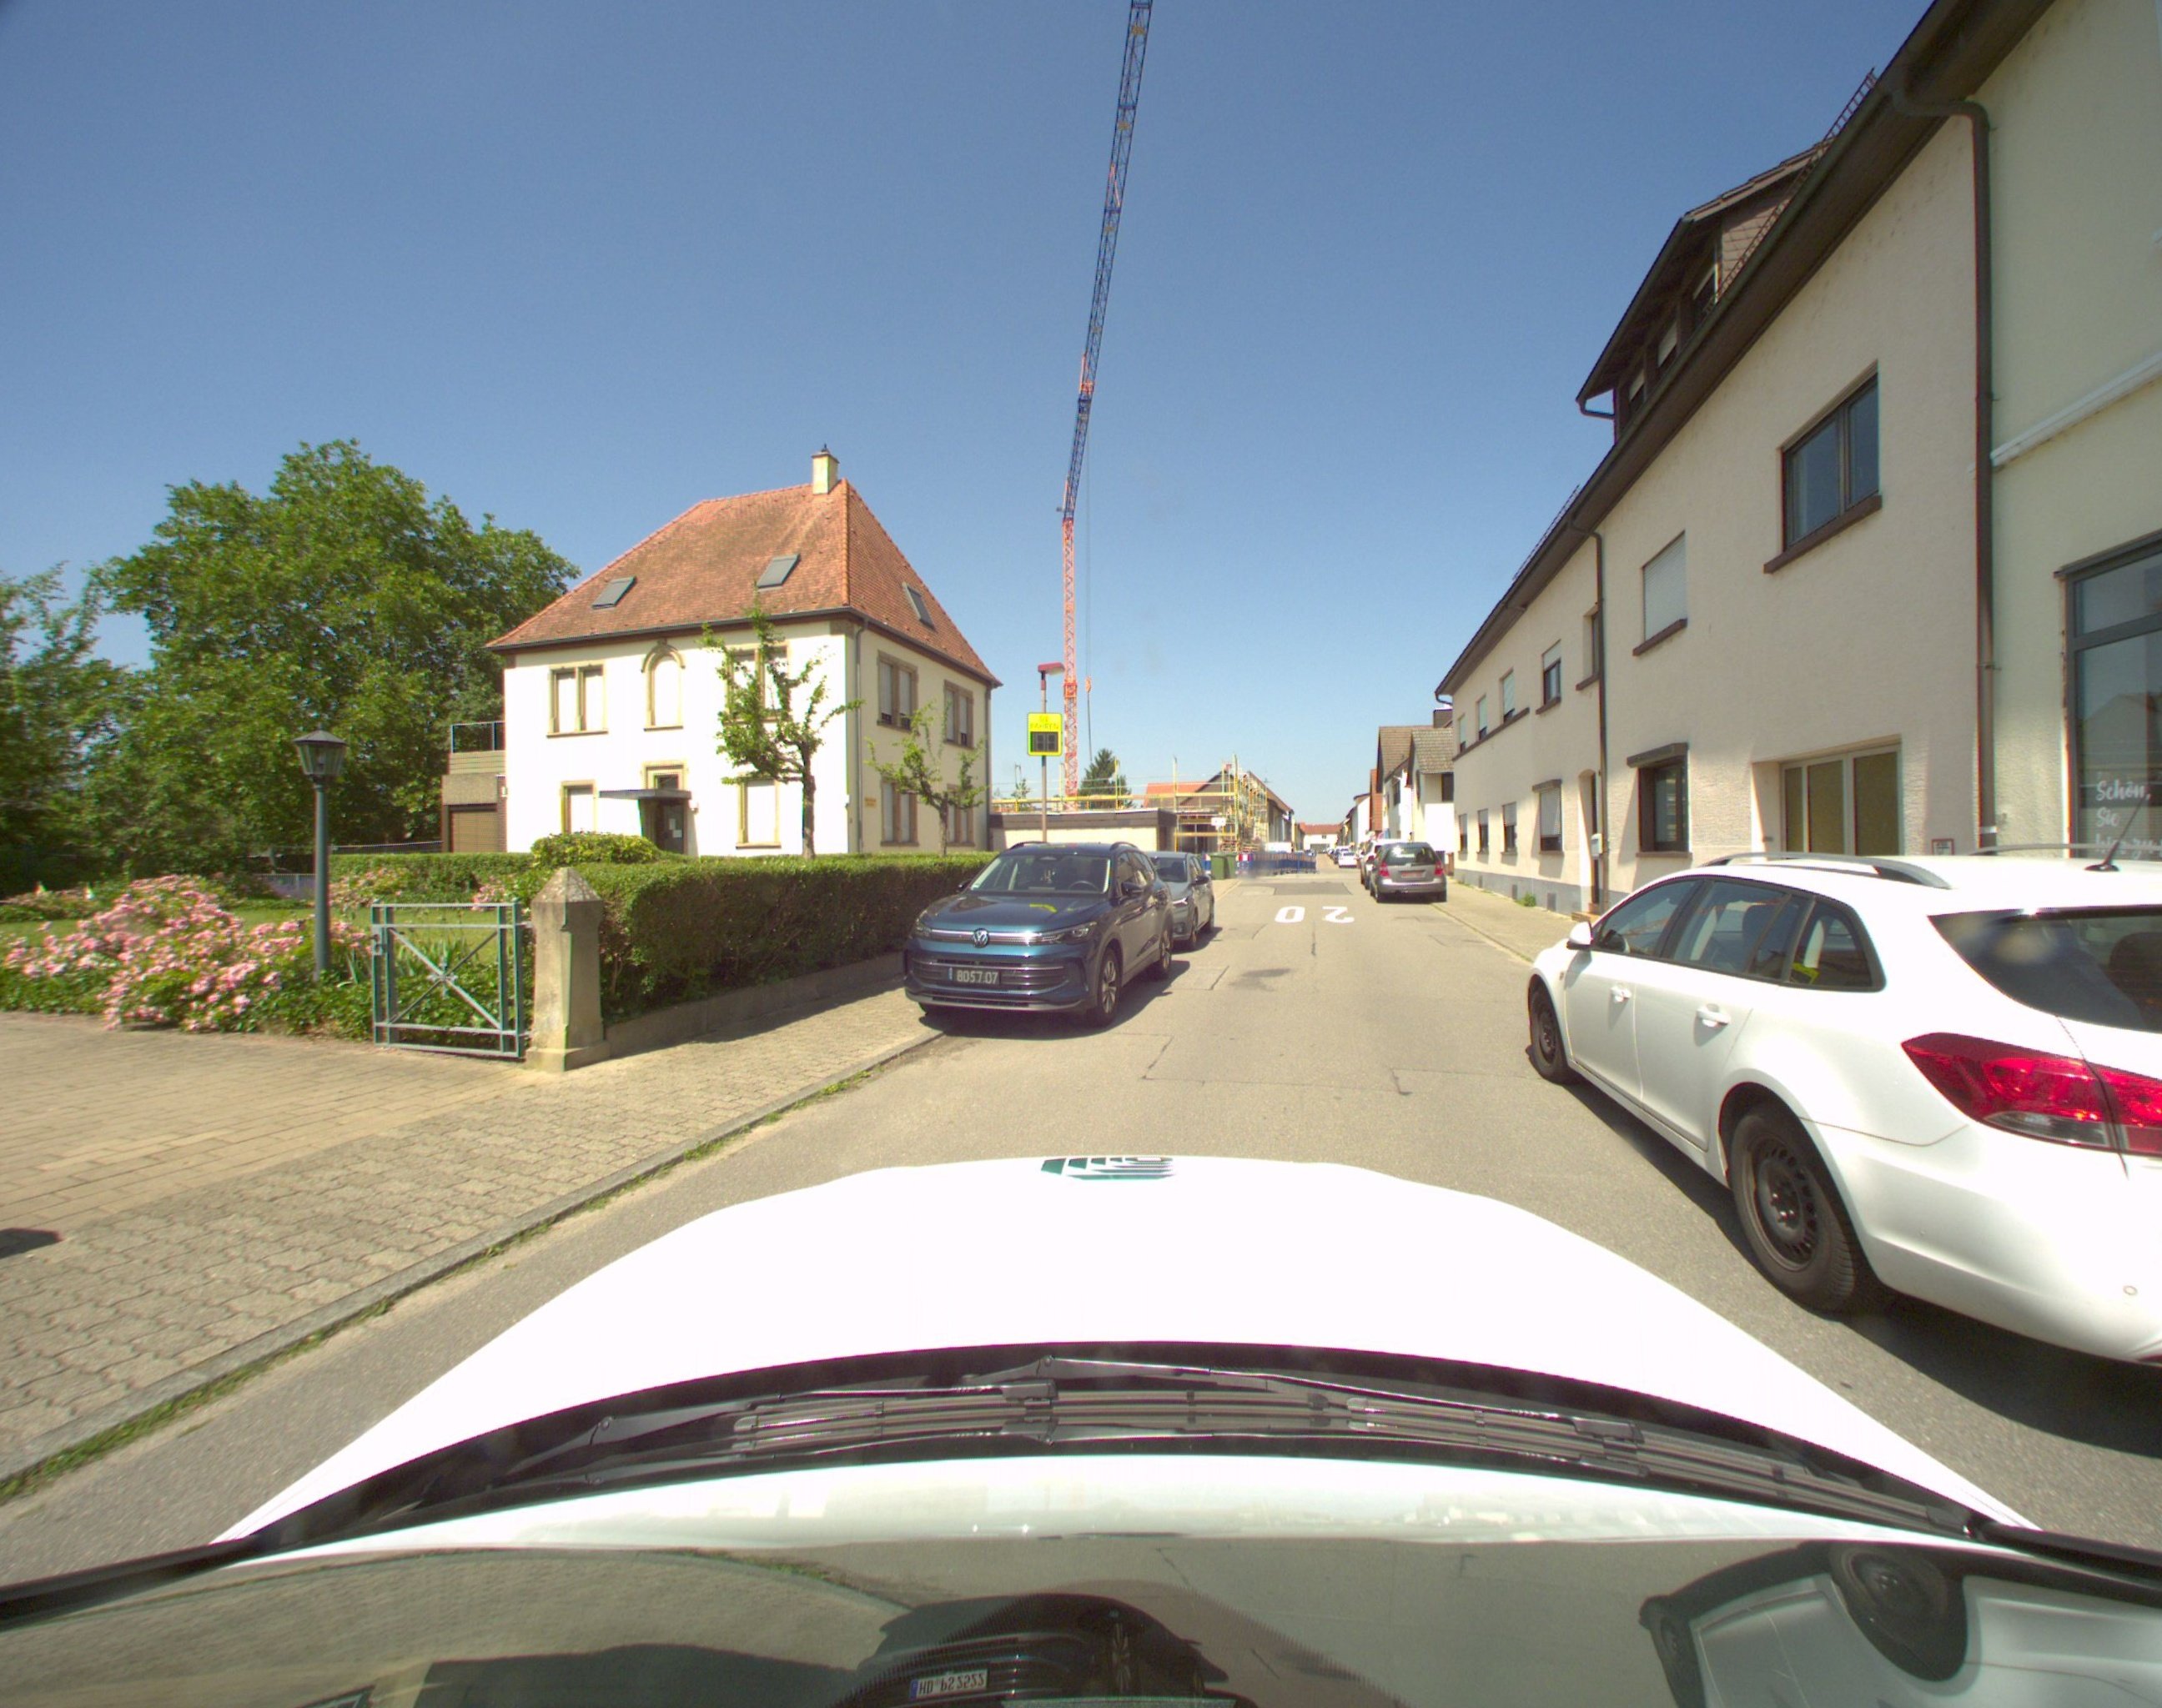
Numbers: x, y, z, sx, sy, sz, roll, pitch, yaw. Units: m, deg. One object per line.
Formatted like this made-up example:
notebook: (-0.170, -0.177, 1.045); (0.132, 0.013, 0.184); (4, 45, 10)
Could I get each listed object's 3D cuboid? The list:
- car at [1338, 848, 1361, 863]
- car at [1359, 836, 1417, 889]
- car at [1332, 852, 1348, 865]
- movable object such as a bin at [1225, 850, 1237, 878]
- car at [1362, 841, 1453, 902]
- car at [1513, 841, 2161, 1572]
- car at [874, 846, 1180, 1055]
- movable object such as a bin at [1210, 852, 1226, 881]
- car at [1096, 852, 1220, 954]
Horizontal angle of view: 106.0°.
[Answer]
car: (25.677, 0.153, 77.997); (1.952, 1.387, 4.018); (-1, 0, 17)
car: (10.428, 0.235, 27.818); (1.552, 1.613, 3.558); (-1, 2, 16)
car: (29.422, 0.543, 92.586); (1.544, 1.387, 3.464); (-1, 0, 15)
movable object such as a bin: (6.088, 0.401, 33.055); (0.429, 1.155, 0.365); (-1, 0, 7)
car: (9.023, 0.435, 22.805); (1.871, 1.556, 3.909); (0, 0, 14)
car: (3.473, 0.730, 3.611); (1.872, 1.542, 4.260); (-1, 0, 16)
car: (-0.241, 0.753, 8.625); (1.812, 1.630, 4.236); (-1, 0, 17)
movable object such as a bin: (5.512, 0.484, 32.718); (0.618, 1.155, 0.679); (-1, 0, 9)
car: (1.421, 0.727, 13.787); (1.425, 1.474, 3.802); (-1, 0, 15)
